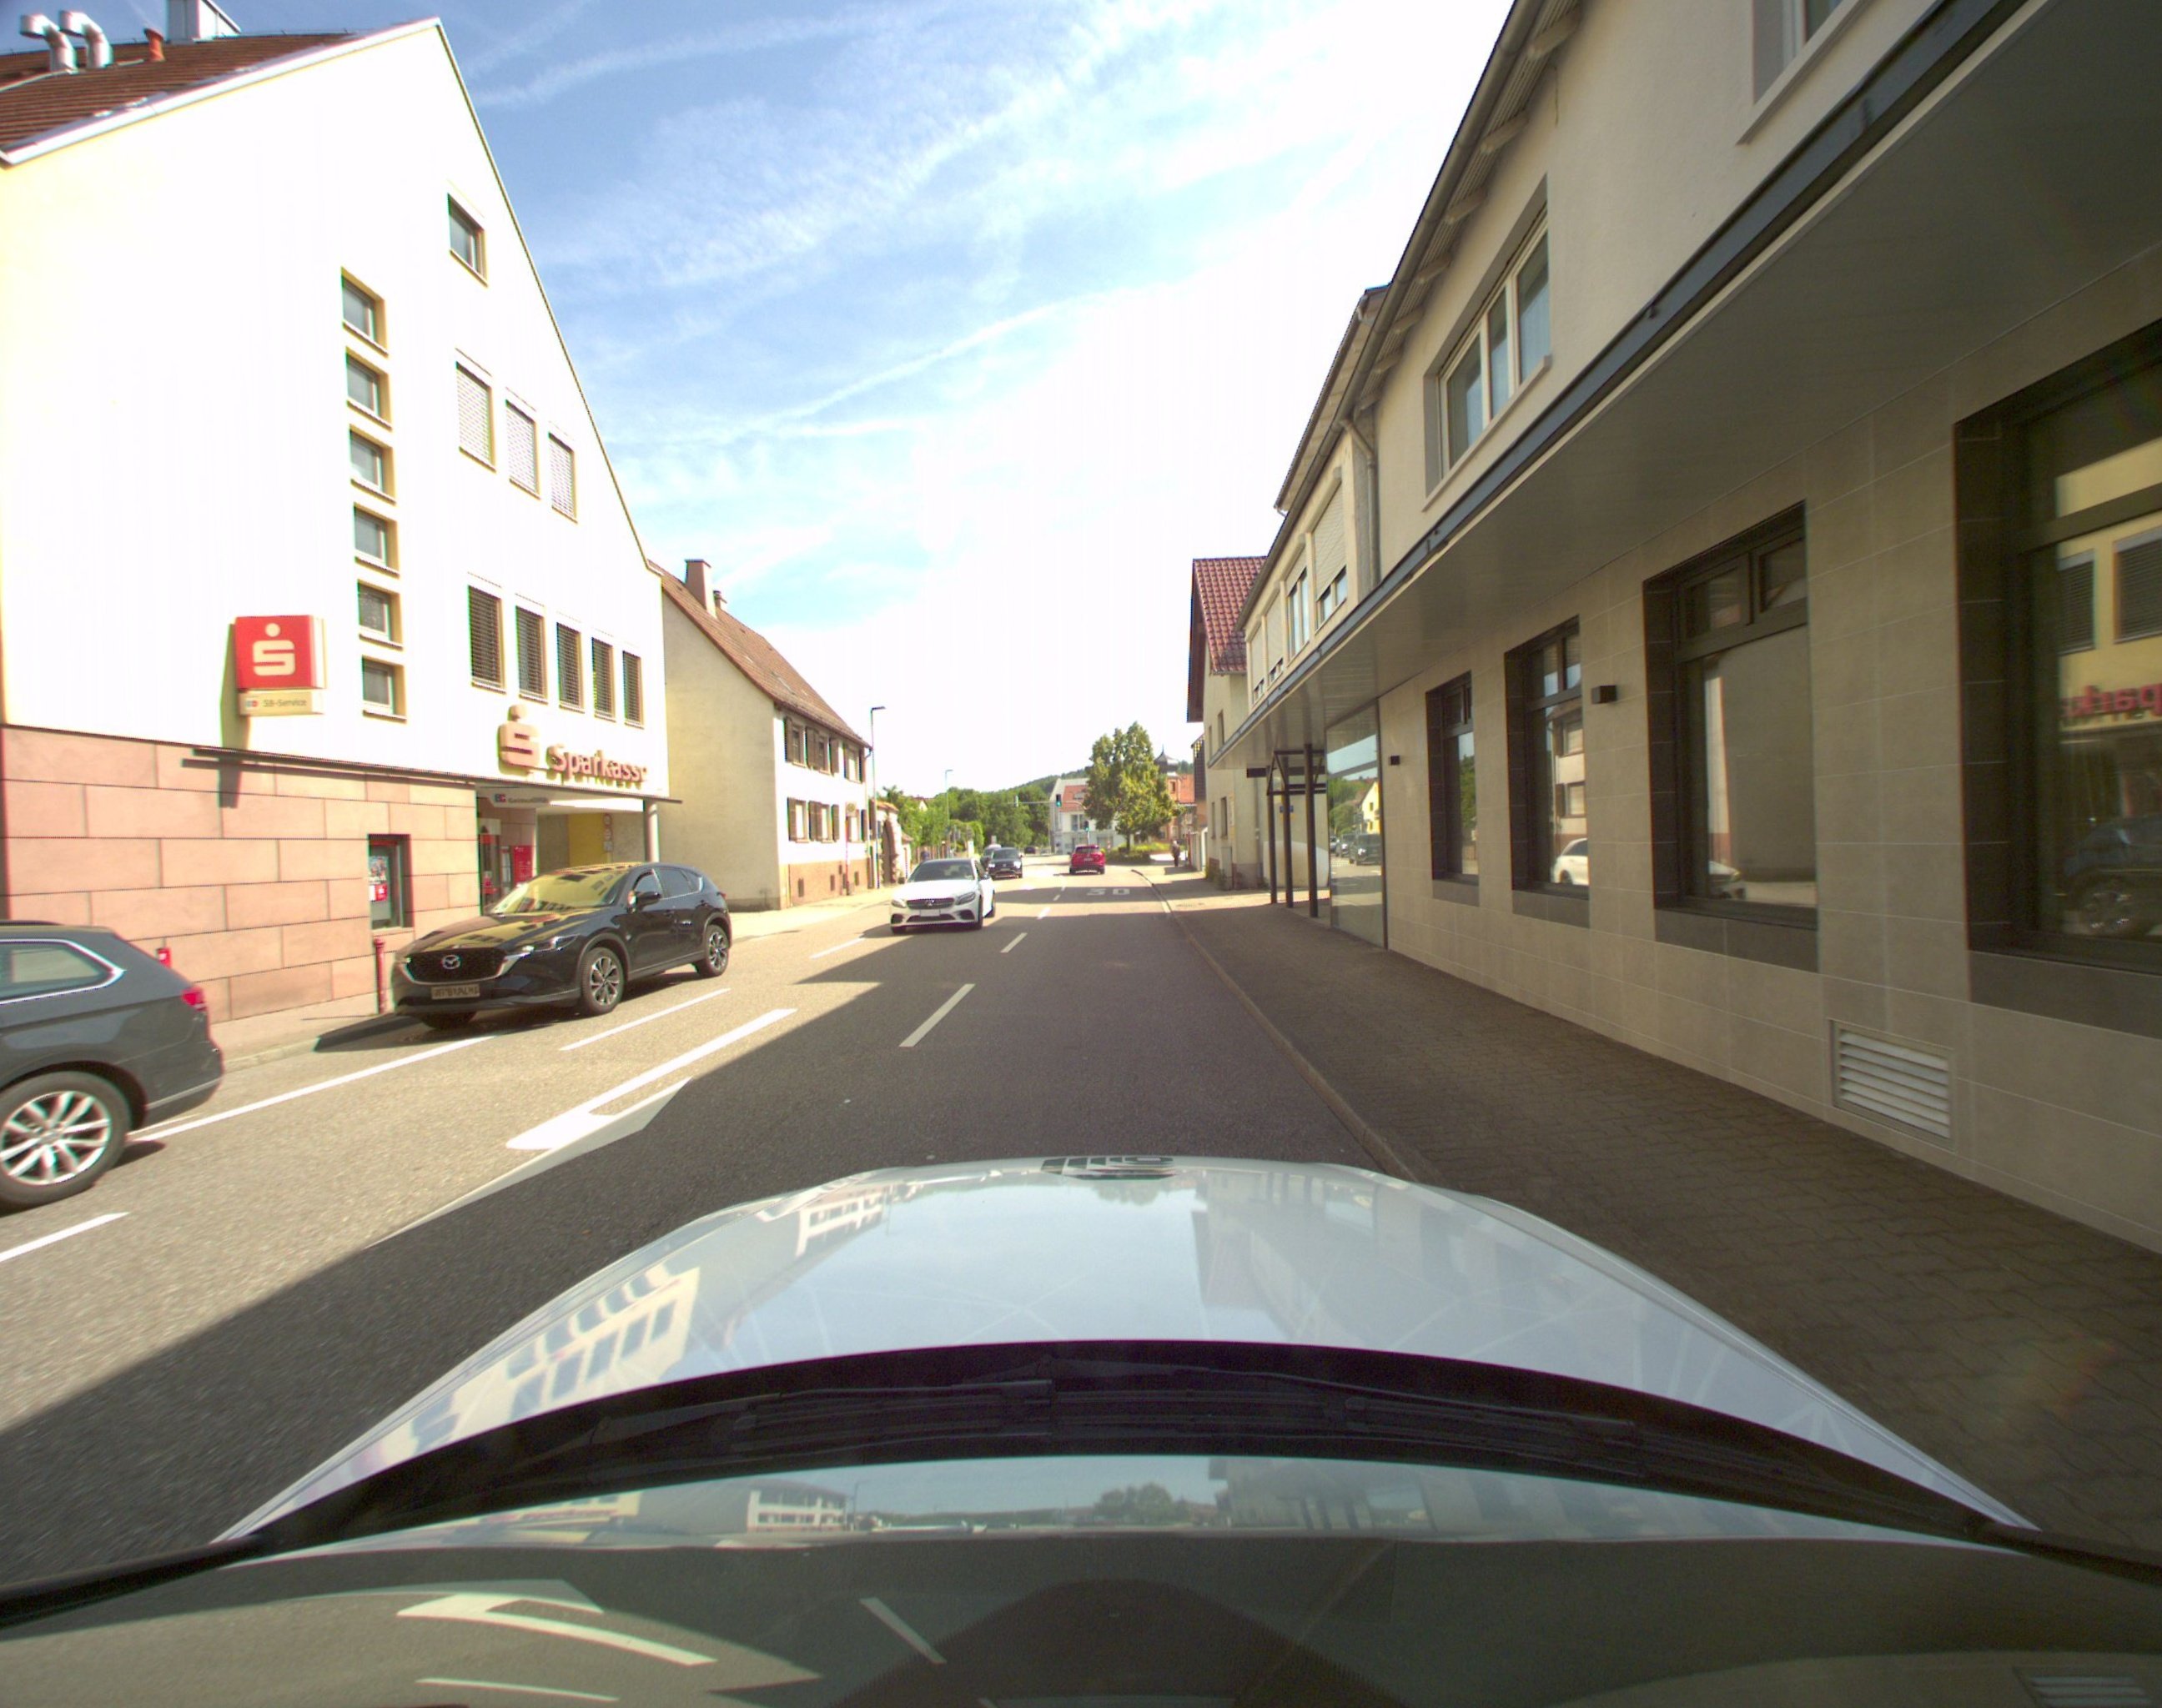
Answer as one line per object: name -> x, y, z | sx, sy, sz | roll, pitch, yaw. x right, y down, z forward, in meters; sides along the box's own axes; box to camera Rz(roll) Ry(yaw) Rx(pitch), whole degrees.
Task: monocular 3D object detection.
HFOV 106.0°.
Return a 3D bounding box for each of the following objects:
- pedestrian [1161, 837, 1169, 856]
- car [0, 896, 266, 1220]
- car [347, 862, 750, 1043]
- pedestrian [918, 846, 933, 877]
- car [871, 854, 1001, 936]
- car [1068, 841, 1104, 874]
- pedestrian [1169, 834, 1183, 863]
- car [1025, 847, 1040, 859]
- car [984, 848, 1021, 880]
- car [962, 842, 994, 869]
pedestrian -> 8.411, -0.730, 81.668 | 0.641, 1.879, 0.651 | -3, -2, -5
car -> -5.981, 1.036, 2.799 | 1.783, 1.450, 4.424 | -4, 0, 1
car -> -6.030, 0.965, 10.071 | 1.861, 1.589, 4.518 | -4, 0, 1
pedestrian -> -9.271, 0.451, 48.529 | 0.664, 1.824, 0.797 | -3, -2, -5
car -> -2.977, 0.786, 17.862 | 1.982, 1.444, 5.097 | -3, 0, -2
car -> 0.267, 0.202, 45.699 | 1.853, 1.714, 4.422 | -2, 0, 0
pedestrian -> 5.830, -0.334, 50.244 | 0.641, 1.707, 0.699 | -3, -2, -5
car -> -8.145, -0.179, 137.261 | 1.925, 1.794, 3.957 | -3, -2, 2
car -> -4.306, 0.502, 44.369 | 1.837, 1.533, 4.243 | -3, 2, -6
car -> -7.537, 0.126, 59.936 | 1.769, 1.785, 3.837 | -3, -2, 0
